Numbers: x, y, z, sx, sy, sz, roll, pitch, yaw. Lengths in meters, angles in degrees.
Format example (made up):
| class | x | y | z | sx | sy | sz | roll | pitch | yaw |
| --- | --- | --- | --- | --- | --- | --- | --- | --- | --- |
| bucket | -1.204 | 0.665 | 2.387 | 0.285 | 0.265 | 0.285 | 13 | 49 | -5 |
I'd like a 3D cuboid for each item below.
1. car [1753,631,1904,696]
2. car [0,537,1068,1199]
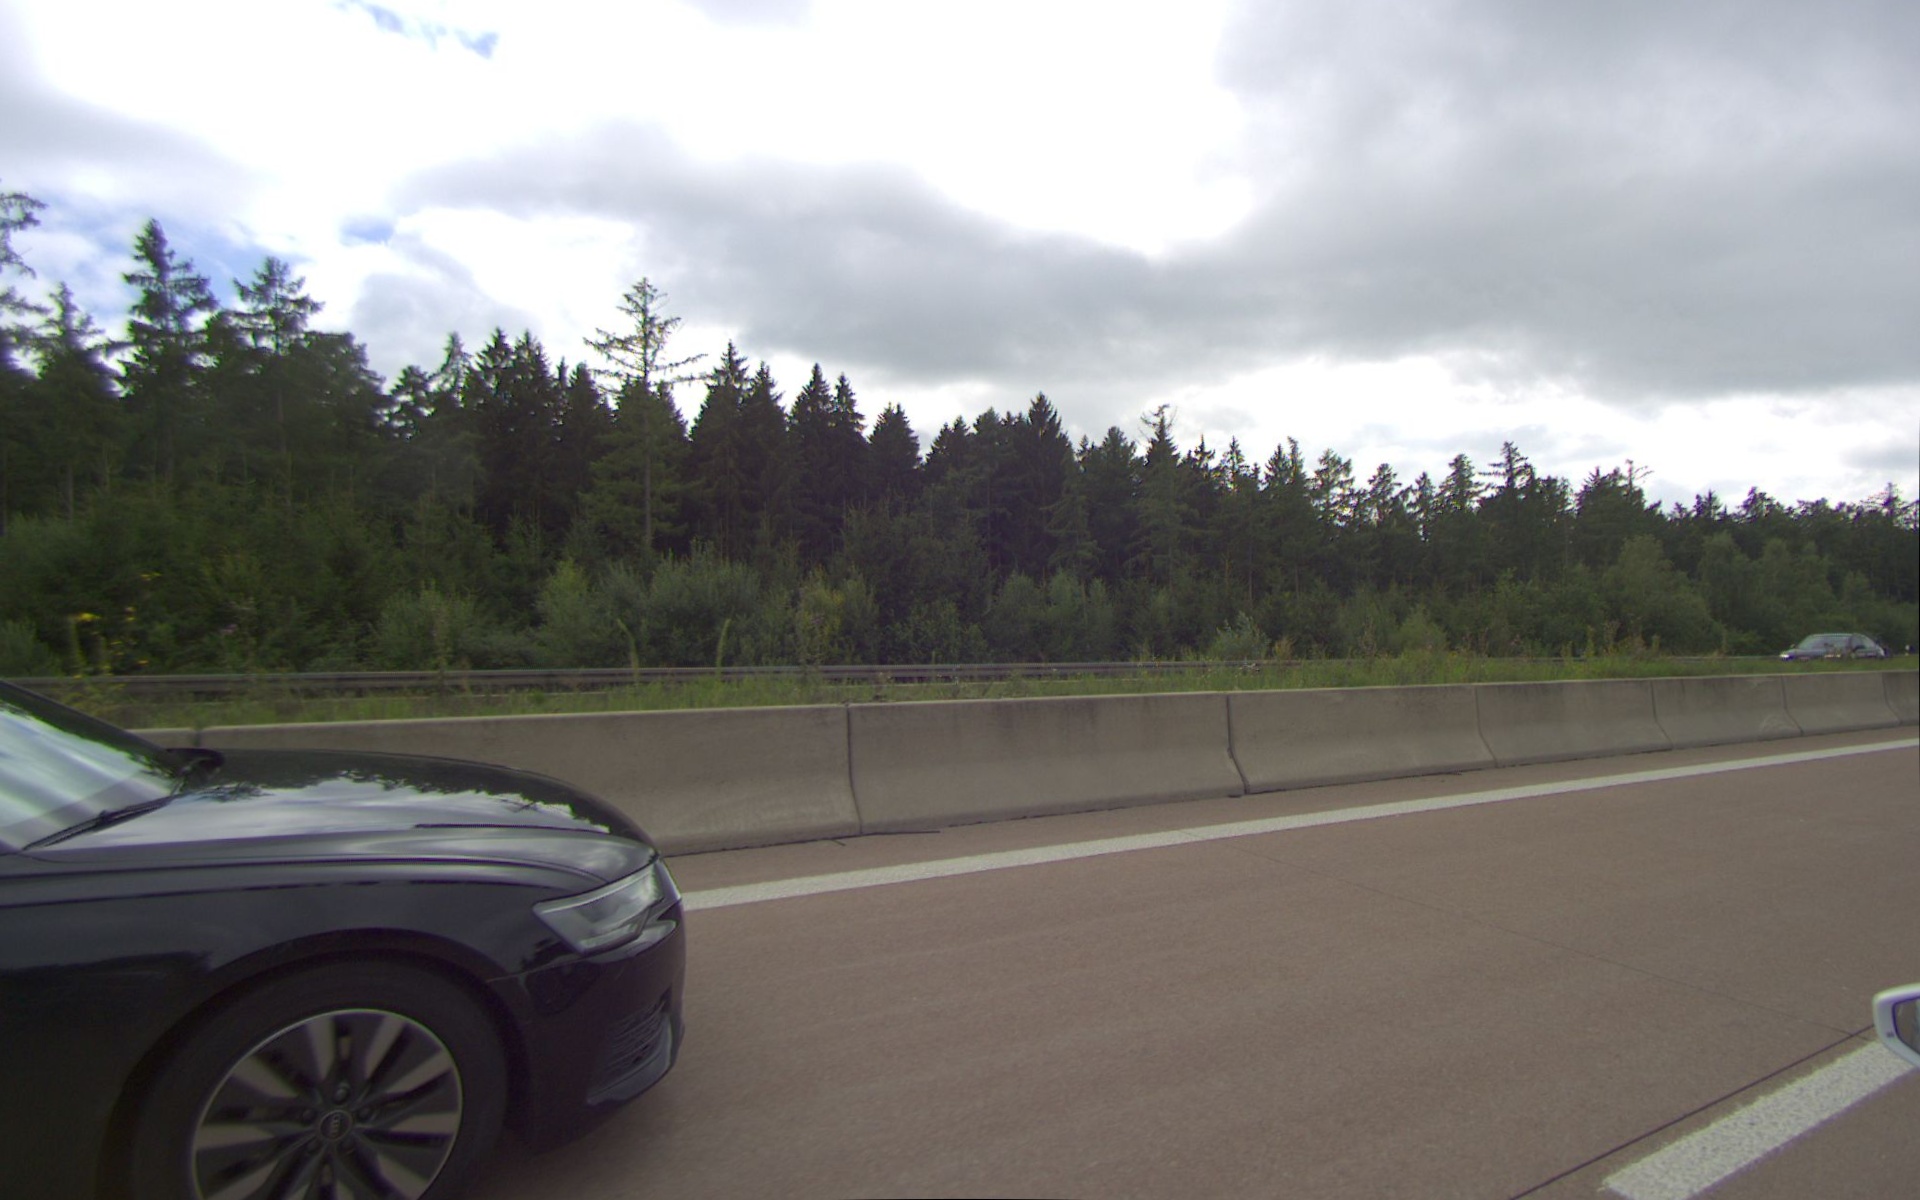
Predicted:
| class | x | y | z | sx | sy | sz | roll | pitch | yaw |
| --- | --- | --- | --- | --- | --- | --- | --- | --- | --- |
| car | 30.966 | 2.197 | 35.776 | 5.786 | 2.057 | 2.335 | 1 | 0 | -30 |
| car | -2.652 | 0.651 | 2.406 | 5.603 | 1.571 | 2.076 | 1 | 0 | -28 |
